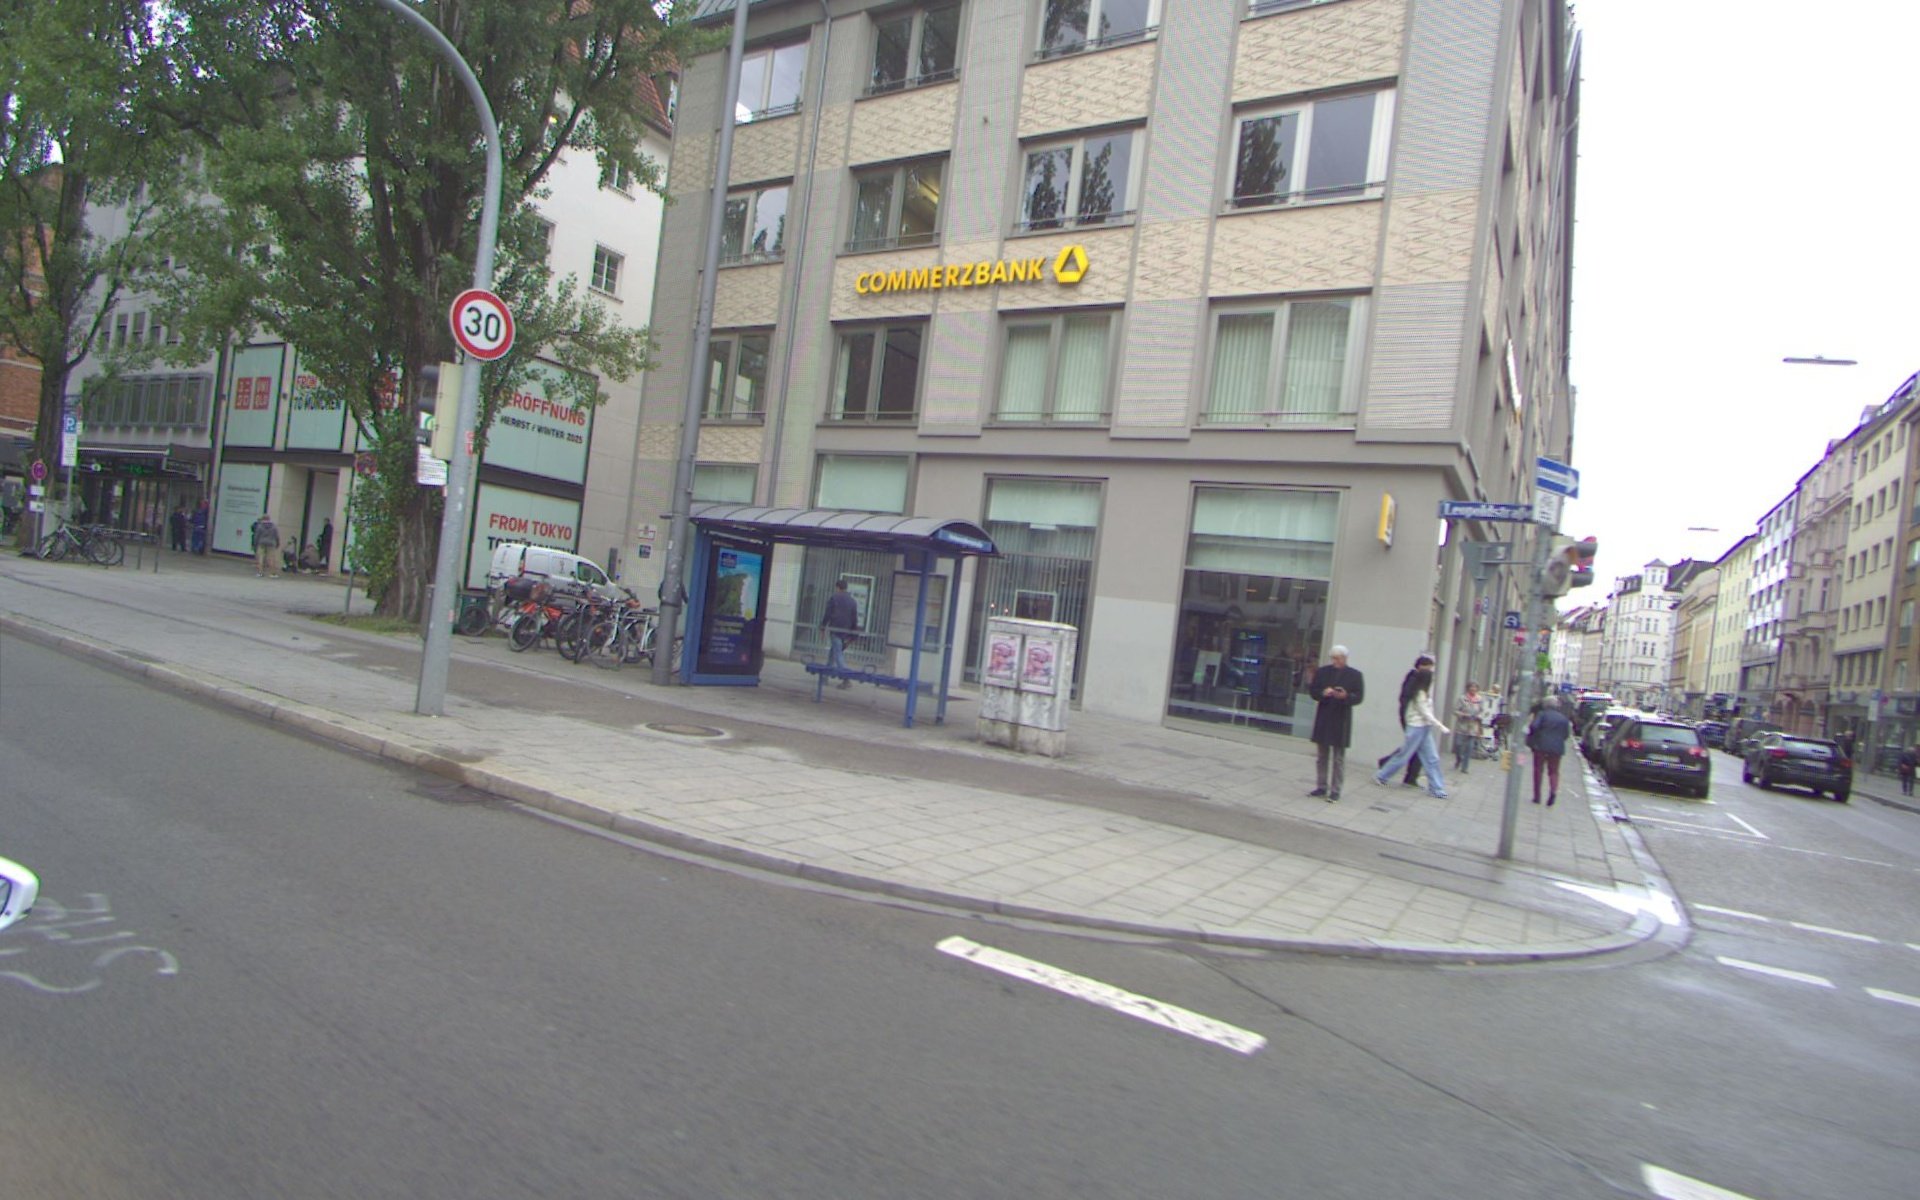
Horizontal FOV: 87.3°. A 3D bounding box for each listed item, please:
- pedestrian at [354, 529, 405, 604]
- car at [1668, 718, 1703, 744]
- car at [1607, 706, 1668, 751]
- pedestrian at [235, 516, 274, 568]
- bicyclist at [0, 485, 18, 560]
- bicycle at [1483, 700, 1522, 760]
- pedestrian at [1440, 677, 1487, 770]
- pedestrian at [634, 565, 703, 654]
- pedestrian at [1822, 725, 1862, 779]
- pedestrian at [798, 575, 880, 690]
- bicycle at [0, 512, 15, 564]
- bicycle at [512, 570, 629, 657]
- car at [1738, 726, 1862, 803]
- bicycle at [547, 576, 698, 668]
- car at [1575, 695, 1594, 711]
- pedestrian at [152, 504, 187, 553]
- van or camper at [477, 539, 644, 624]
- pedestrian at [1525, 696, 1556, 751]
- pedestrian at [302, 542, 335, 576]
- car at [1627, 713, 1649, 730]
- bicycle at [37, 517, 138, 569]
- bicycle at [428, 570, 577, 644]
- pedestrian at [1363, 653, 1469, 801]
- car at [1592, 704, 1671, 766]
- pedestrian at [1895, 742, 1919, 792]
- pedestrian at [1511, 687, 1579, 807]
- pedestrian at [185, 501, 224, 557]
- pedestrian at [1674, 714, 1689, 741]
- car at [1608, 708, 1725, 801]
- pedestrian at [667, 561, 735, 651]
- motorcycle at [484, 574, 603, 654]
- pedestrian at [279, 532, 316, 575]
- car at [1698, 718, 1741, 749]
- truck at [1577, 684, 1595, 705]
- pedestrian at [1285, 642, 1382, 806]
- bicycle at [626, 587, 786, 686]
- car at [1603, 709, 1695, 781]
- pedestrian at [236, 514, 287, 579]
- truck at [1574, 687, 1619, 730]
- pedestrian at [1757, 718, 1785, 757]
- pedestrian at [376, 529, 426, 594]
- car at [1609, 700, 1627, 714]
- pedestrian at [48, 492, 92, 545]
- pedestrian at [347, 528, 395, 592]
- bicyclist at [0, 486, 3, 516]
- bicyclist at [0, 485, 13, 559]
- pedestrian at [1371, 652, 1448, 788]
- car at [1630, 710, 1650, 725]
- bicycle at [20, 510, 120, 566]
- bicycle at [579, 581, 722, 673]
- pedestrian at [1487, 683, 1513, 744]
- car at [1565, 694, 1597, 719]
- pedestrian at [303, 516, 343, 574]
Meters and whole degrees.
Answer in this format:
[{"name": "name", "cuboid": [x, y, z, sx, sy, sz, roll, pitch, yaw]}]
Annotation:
[{"name": "pedestrian", "cuboid": [-14.032, -0.819, 24.330, 0.914, 1.686, 0.560, 7, 0, 33]}, {"name": "car", "cuboid": [53.766, 9.698, 74.551, 1.556, 1.529, 3.202, 7, -1, 29]}, {"name": "car", "cuboid": [27.870, 5.237, 41.491, 1.730, 1.478, 3.994, 7, -1, 31]}, {"name": "pedestrian", "cuboid": [-23.570, -1.941, 33.601, 0.815, 1.629, 0.670, 7, 0, 34]}, {"name": "bicyclist", "cuboid": [-21.099, -1.713, 21.926, 0.385, 1.608, 0.622, 7, 0, 31]}, {"name": "bicycle", "cuboid": [12.447, 2.961, 23.099, 0.440, 1.226, 1.744, 7, -1, 22]}, {"name": "pedestrian", "cuboid": [8.990, 2.190, 17.953, 0.574, 1.550, 0.444, 7, 0, 28]}, {"name": "pedestrian", "cuboid": [-5.959, 0.197, 20.587, 0.947, 1.698, 0.751, 7, 0, 33]}, {"name": "pedestrian", "cuboid": [32.422, 5.572, 36.995, 0.820, 1.824, 0.867, 6, -2, 33]}, {"name": "pedestrian", "cuboid": [-2.063, 0.563, 17.181, 0.875, 1.840, 0.819, 7, 0, 30]}, {"name": "bicycle", "cuboid": [-21.915, -1.479, 22.396, 2.225, 1.100, 0.627, 7, 0, 31]}, {"name": "bicycle", "cuboid": [-6.292, 0.247, 16.329, 0.442, 1.254, 1.726, 7, 0, 32]}, {"name": "car", "cuboid": [22.046, 4.270, 26.551, 1.730, 1.478, 3.994, 7, -1, 31]}, {"name": "bicycle", "cuboid": [-5.374, 0.400, 16.197, 0.622, 1.267, 2.347, 7, -1, 31]}, {"name": "car", "cuboid": [69.465, 11.498, 111.889, 1.557, 1.529, 3.201, 7, -1, 30]}, {"name": "pedestrian", "cuboid": [-28.432, -2.564, 36.170, 0.760, 1.628, 0.670, 6, -2, 39]}, {"name": "van or camper", "cuboid": [-11.747, -0.499, 29.819, 1.868, 1.888, 4.109, 6, -3, 35]}, {"name": "pedestrian", "cuboid": [16.032, 3.393, 27.774, 0.574, 1.422, 0.444, 7, 0, 28]}, {"name": "pedestrian", "cuboid": [-20.860, -1.341, 32.716, 0.661, 0.981, 0.571, 7, 0, 33]}, {"name": "car", "cuboid": [72.269, 12.915, 107.194, 1.557, 1.529, 3.201, 7, -1, 30]}, {"name": "bicycle", "cuboid": [-21.130, -1.365, 24.413, 0.475, 1.057, 1.763, 7, 0, 21]}, {"name": "bicycle", "cuboid": [-7.879, 0.150, 17.429, 0.860, 1.029, 2.152, 7, -1, 31]}, {"name": "pedestrian", "cuboid": [6.132, 1.678, 13.526, 1.000, 1.779, 0.751, 7, 1, 33]}, {"name": "car", "cuboid": [20.143, 4.009, 30.292, 1.730, 1.479, 3.692, 7, -1, 33]}, {"name": "pedestrian", "cuboid": [29.709, 5.217, 31.440, 0.576, 1.450, 0.443, 7, 0, 41]}, {"name": "pedestrian", "cuboid": [8.756, 2.173, 15.059, 0.722, 1.657, 0.750, 5, 0, 34]}, {"name": "pedestrian", "cuboid": [-27.318, -2.559, 36.404, 0.863, 1.851, 0.829, 7, 0, -31]}, {"name": "pedestrian", "cuboid": [45.740, 8.082, 63.785, 0.573, 1.571, 0.669, 7, 0, 31]}, {"name": "car", "cuboid": [15.363, 3.288, 22.054, 1.730, 1.567, 3.992, 7, -1, 33]}, {"name": "pedestrian", "cuboid": [-5.465, 0.132, 21.233, 0.947, 1.738, 0.751, 7, 0, 33]}, {"name": "motorcycle", "cuboid": [-6.822, 0.255, 16.564, 0.501, 1.153, 1.726, 7, -1, 33]}, {"name": "pedestrian", "cuboid": [-21.135, -1.485, 32.096, 0.673, 1.249, 0.670, 8, 1, 33]}, {"name": "car", "cuboid": [47.112, 8.258, 62.451, 1.556, 1.529, 3.202, 7, -1, 29]}, {"name": "truck", "cuboid": [98.250, 14.859, 157.915, 1.961, 3.037, 5.480, 7, -1, 30]}, {"name": "pedestrian", "cuboid": [4.412, 1.443, 11.871, 0.740, 1.779, 0.709, 7, 0, 33]}, {"name": "bicycle", "cuboid": [-3.838, 0.577, 15.353, 2.226, 1.267, 0.473, 8, 0, -35]}, {"name": "car", "cuboid": [18.283, 3.787, 26.843, 1.730, 1.479, 3.692, 7, -1, 33]}, {"name": "pedestrian", "cuboid": [-19.834, -1.508, 28.581, 0.814, 1.694, 0.982, 7, 0, -21]}, {"name": "truck", "cuboid": [34.747, 5.903, 54.996, 1.730, 2.005, 3.994, 7, -1, 31]}, {"name": "pedestrian", "cuboid": [40.900, 6.938, 50.725, 0.820, 1.825, 0.866, 7, 0, 33]}, {"name": "pedestrian", "cuboid": [-16.308, -1.121, 29.359, 0.947, 1.739, 0.751, 7, 0, 32]}, {"name": "car", "cuboid": [84.698, 13.743, 129.507, 1.557, 1.529, 3.201, 7, -1, 30]}, {"name": "pedestrian", "cuboid": [-34.007, -3.116, 38.431, 1.081, 1.863, 0.827, 7, 0, 32]}, {"name": "pedestrian", "cuboid": [-16.714, -1.133, 28.565, 0.947, 1.683, 0.653, 7, 0, 32]}, {"name": "bicyclist", "cuboid": [-22.003, -1.812, 22.472, 0.740, 1.608, 0.622, 7, 0, 31]}, {"name": "bicyclist", "cuboid": [-21.370, -1.743, 22.087, 0.473, 1.608, 0.622, 7, 0, 31]}, {"name": "pedestrian", "cuboid": [6.368, 1.681, 14.238, 0.699, 1.779, 0.751, 7, 0, 33]}, {"name": "car", "cuboid": [80.146, 13.841, 118.619, 1.557, 1.529, 3.201, 7, -1, 30]}, {"name": "bicycle", "cuboid": [-21.790, -1.494, 24.666, 0.440, 1.124, 1.744, 7, -1, 22]}, {"name": "bicycle", "cuboid": [-4.831, 0.465, 15.887, 0.469, 1.267, 2.319, 7, -1, 31]}, {"name": "pedestrian", "cuboid": [14.380, 3.020, 26.798, 0.437, 1.538, 0.583, 7, 0, 28]}, {"name": "car", "cuboid": [44.434, 7.614, 71.989, 1.730, 1.479, 3.692, 7, -1, 33]}, {"name": "pedestrian", "cuboid": [-21.284, -1.839, 33.598, 0.854, 1.786, 0.682, 7, 0, 34]}]
